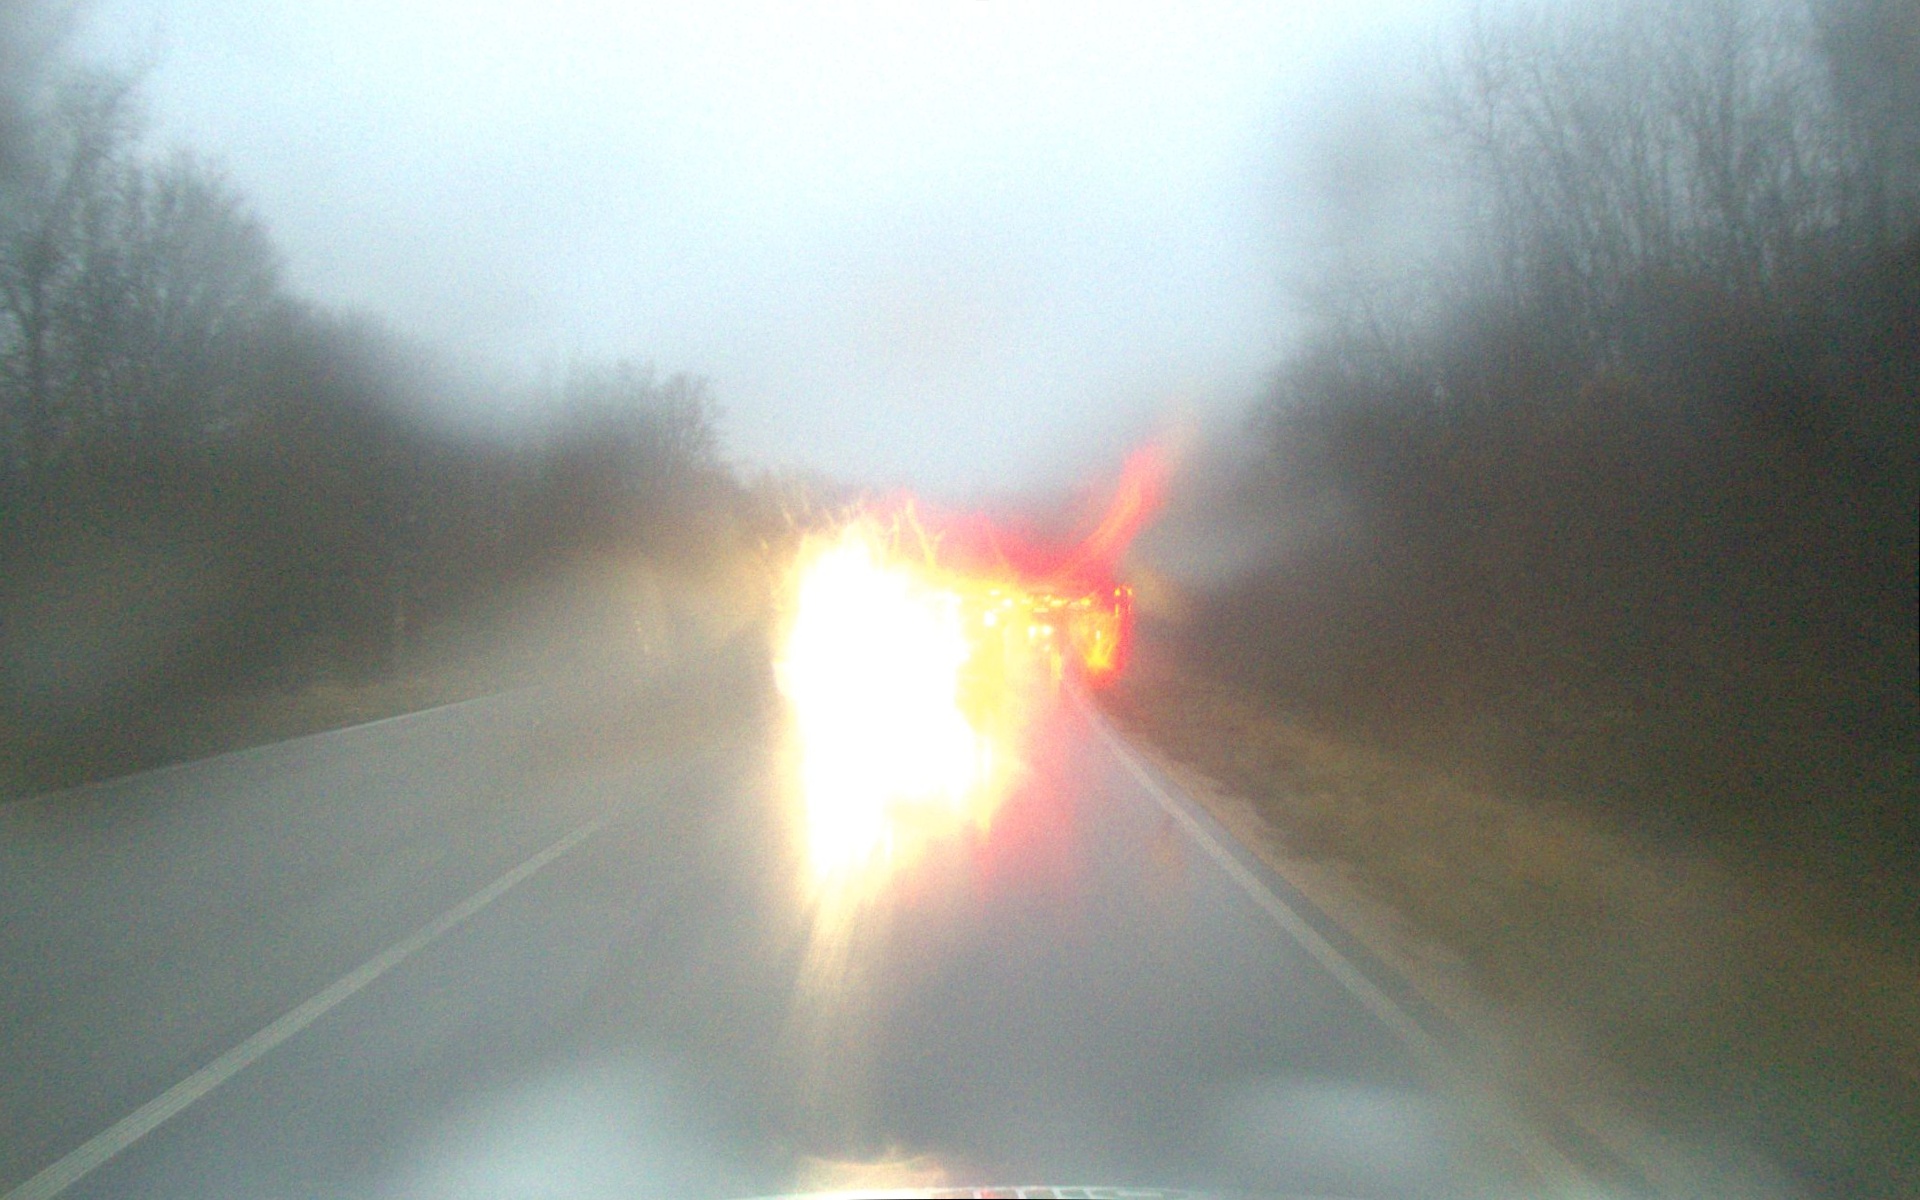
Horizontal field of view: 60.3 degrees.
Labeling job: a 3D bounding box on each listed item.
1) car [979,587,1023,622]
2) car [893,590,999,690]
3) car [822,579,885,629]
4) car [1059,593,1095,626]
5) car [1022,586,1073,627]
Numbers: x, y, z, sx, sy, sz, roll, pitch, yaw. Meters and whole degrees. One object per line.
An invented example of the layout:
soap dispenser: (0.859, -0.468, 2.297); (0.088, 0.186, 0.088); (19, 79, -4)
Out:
car: (1.969, 0.197, 80.707); (1.964, 1.583, 4.517); (2, 1, 0)
car: (-0.285, 0.609, 27.958); (1.599, 1.445, 4.170); (3, 1, -2)
car: (-3.454, 0.106, 54.140); (1.728, 1.523, 4.103); (2, 1, 0)
car: (6.336, 0.498, 89.862); (1.644, 1.704, 4.098); (1, 1, 0)
car: (3.231, 0.217, 61.617); (1.644, 1.413, 4.098); (1, 1, 0)
